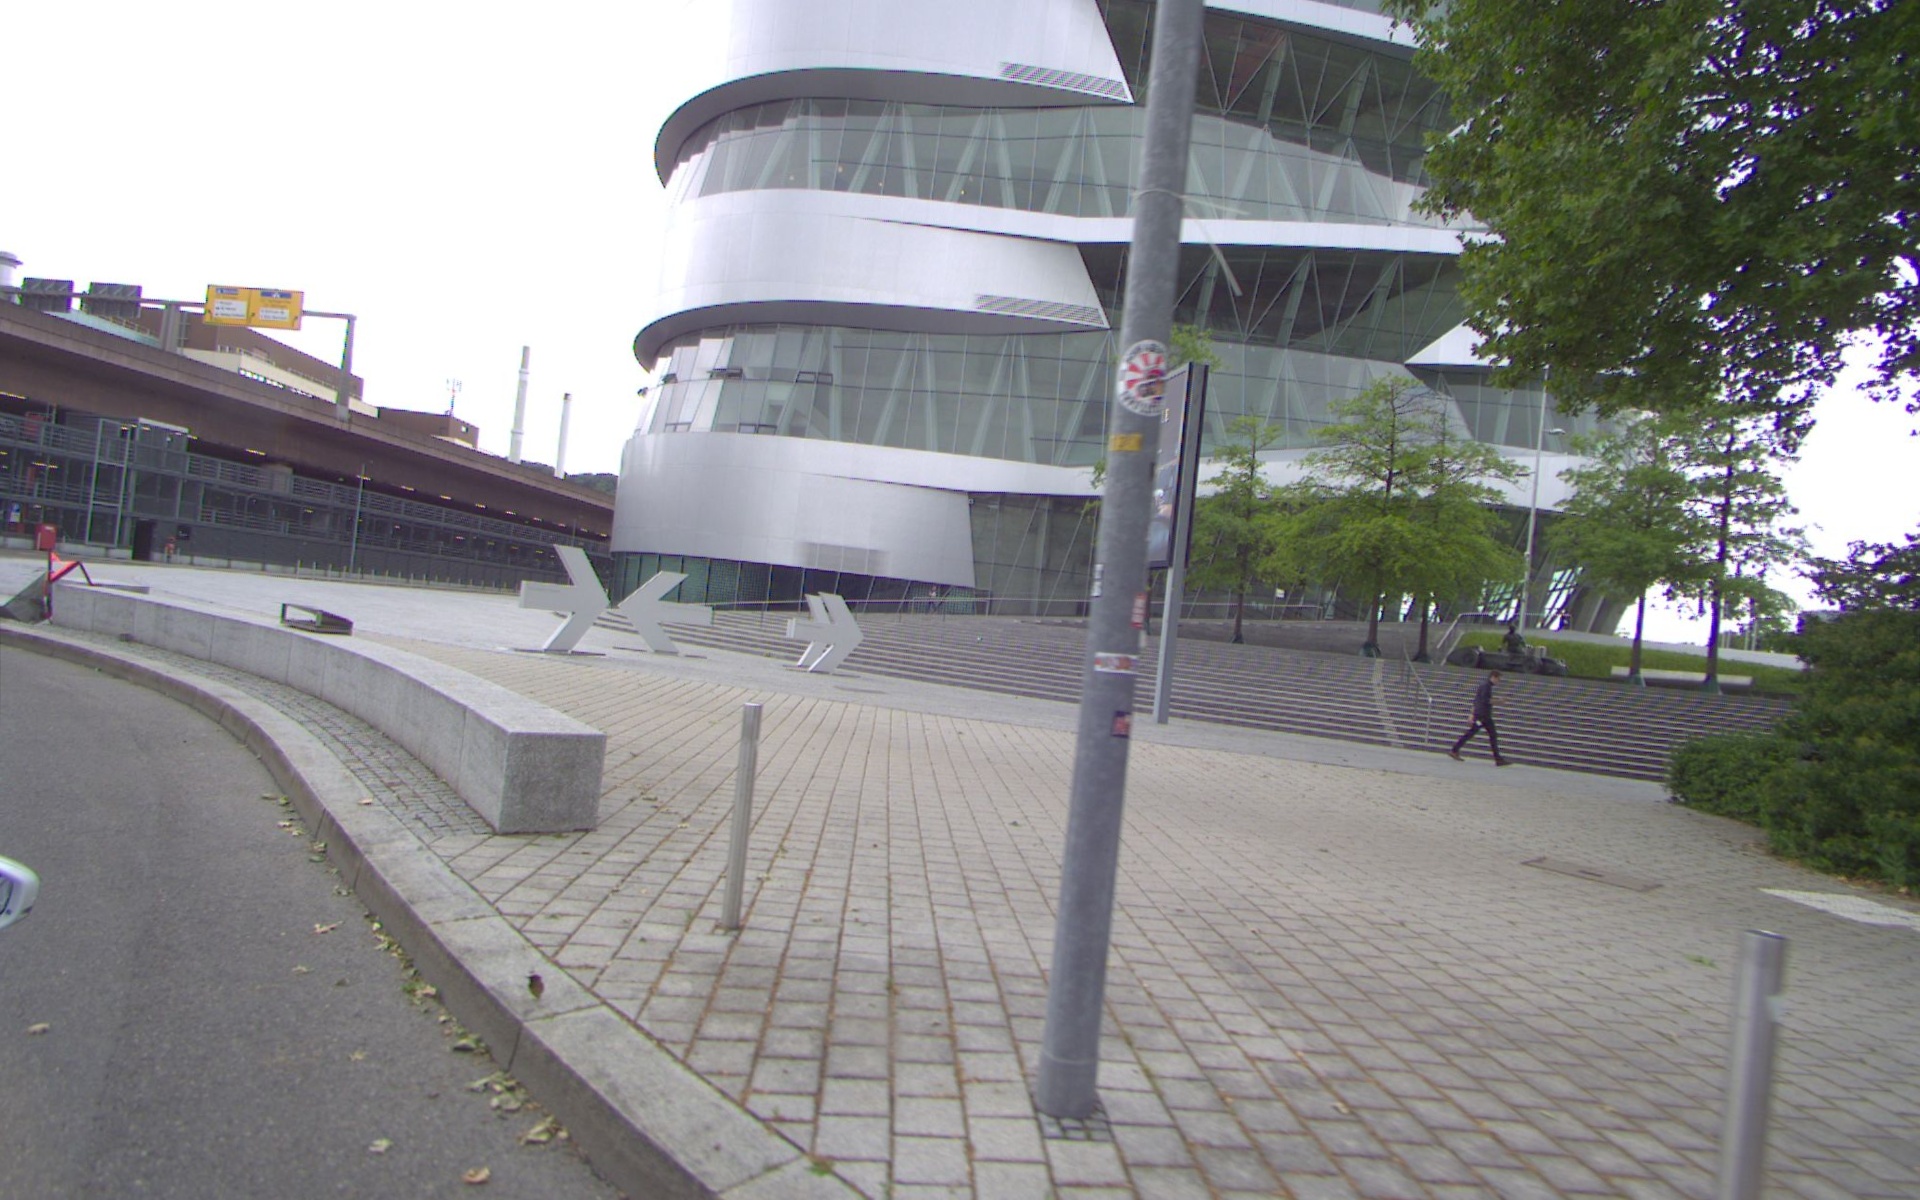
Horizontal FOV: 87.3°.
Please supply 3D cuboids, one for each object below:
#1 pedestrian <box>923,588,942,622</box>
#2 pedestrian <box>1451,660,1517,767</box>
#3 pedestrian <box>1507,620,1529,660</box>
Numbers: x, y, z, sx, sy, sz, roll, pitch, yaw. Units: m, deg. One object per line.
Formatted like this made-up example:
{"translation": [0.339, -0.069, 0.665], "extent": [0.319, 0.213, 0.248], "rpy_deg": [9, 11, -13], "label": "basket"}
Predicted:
{"translation": [-1.578, 0.298, 56.913], "extent": [0.708, 1.843, 0.619], "rpy_deg": [7, -2, -29], "label": "pedestrian"}
{"translation": [9.595, 2.060, 18.421], "extent": [0.615, 1.843, 0.713], "rpy_deg": [6, -2, -22], "label": "pedestrian"}
{"translation": [19.145, 1.382, 34.533], "extent": [0.494, 1.283, 0.618], "rpy_deg": [5, -2, 22], "label": "pedestrian"}
